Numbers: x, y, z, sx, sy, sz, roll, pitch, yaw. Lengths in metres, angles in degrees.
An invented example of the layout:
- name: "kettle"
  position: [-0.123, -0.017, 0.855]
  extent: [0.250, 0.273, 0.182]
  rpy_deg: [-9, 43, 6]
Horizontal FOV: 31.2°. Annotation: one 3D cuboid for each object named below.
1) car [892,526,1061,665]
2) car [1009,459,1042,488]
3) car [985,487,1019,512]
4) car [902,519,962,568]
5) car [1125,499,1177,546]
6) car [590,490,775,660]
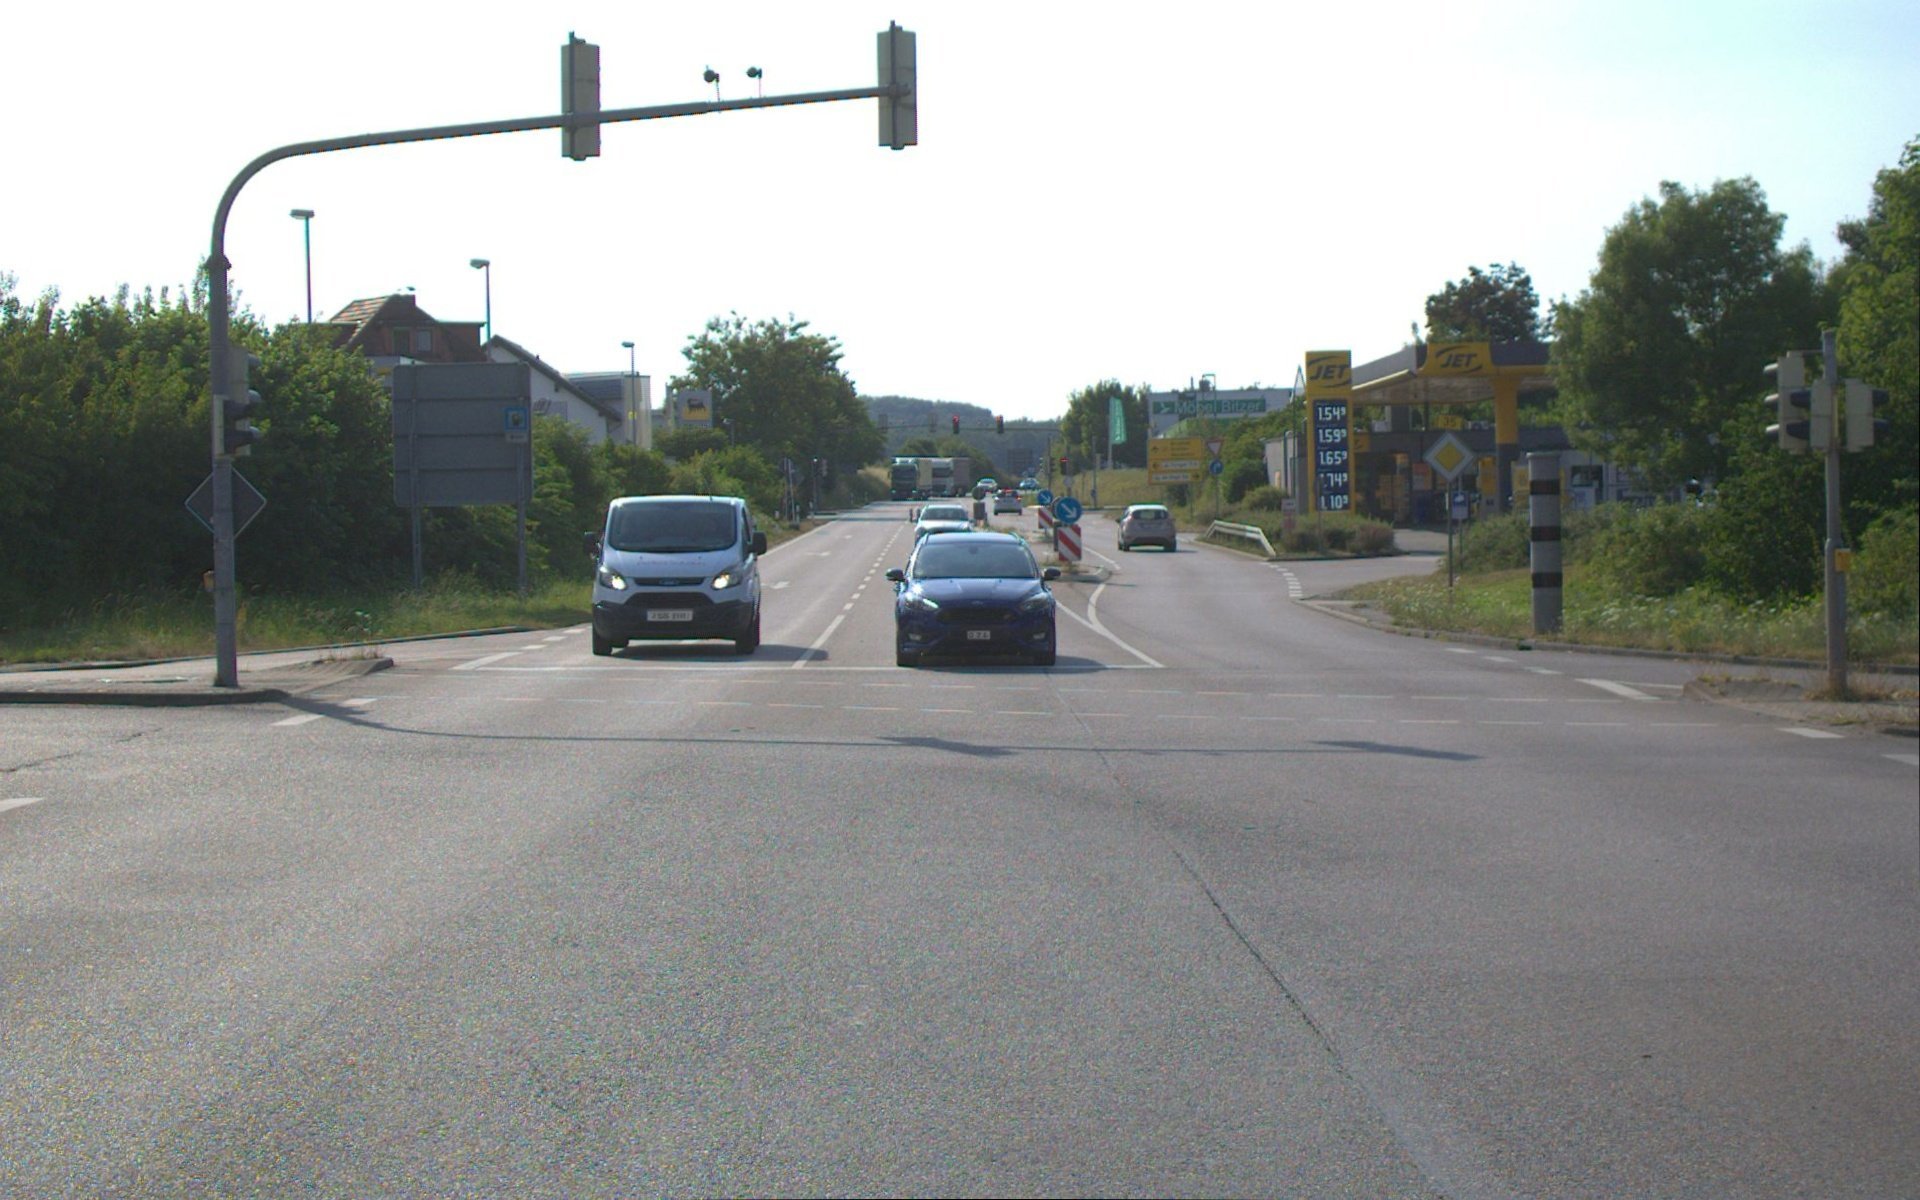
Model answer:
- name: "car"
  position: [0.238, -0.070, 39.564]
  extent: [1.788, 1.492, 4.302]
  rpy_deg: [1, 1, 2]
- name: "car"
  position: [4.818, -9.266, 252.443]
  extent: [1.993, 2.007, 4.001]
  rpy_deg: [1, 1, -4]
- name: "car"
  position: [2.471, -5.949, 203.614]
  extent: [1.740, 1.347, 3.204]
  rpy_deg: [1, 1, -4]
- name: "car"
  position: [-0.901, -1.770, 108.582]
  extent: [1.857, 1.508, 4.953]
  rpy_deg: [1, 1, -1]
- name: "car"
  position: [6.037, -2.451, 108.974]
  extent: [1.550, 1.444, 3.050]
  rpy_deg: [1, 1, 2]
- name: "car"
  position: [-3.445, -0.374, 43.418]
  extent: [1.900, 1.941, 4.819]
  rpy_deg: [1, 2, 0]
